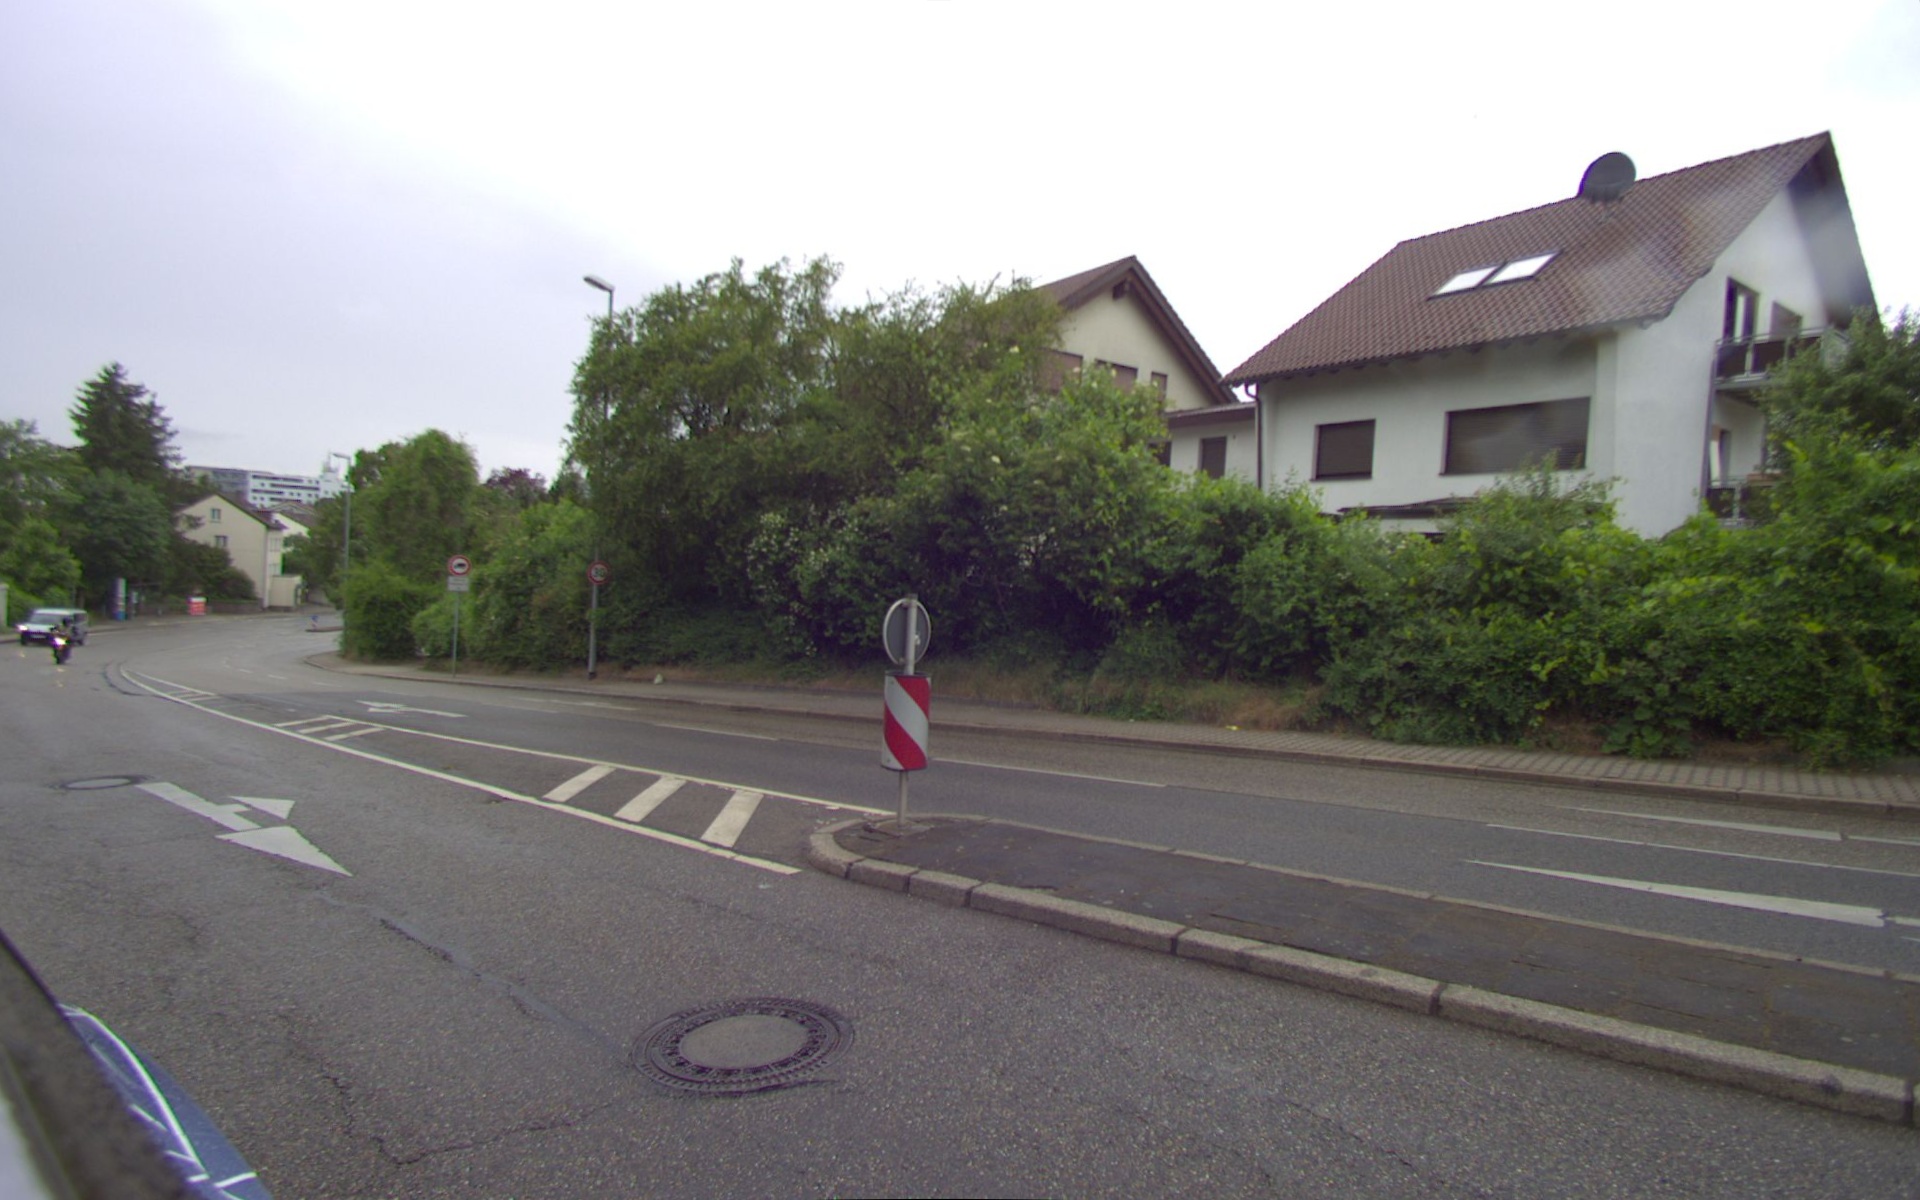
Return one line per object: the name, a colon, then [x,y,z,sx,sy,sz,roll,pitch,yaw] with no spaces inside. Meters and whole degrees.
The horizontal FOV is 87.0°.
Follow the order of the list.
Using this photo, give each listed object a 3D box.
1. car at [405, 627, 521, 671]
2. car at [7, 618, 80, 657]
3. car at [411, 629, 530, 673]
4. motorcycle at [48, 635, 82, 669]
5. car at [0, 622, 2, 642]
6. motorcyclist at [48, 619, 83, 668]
car: [-20.741,1.985,42.294,3.939,1.548,2.003,-3,1,-42]
car: [-46.390,1.893,51.318,1.748,1.788,4.012,5,-4,-29]
car: [-19.252,1.962,39.852,3.853,1.451,1.814,-3,1,-41]
motorcycle: [-31.279,1.814,35.373,0.682,1.061,1.751,5,-3,-37]
car: [-36.678,1.463,36.911,1.789,1.449,4.010,6,-4,-34]
motorcyclist: [-31.296,1.511,35.413,0.755,1.655,0.676,5,-4,-38]
